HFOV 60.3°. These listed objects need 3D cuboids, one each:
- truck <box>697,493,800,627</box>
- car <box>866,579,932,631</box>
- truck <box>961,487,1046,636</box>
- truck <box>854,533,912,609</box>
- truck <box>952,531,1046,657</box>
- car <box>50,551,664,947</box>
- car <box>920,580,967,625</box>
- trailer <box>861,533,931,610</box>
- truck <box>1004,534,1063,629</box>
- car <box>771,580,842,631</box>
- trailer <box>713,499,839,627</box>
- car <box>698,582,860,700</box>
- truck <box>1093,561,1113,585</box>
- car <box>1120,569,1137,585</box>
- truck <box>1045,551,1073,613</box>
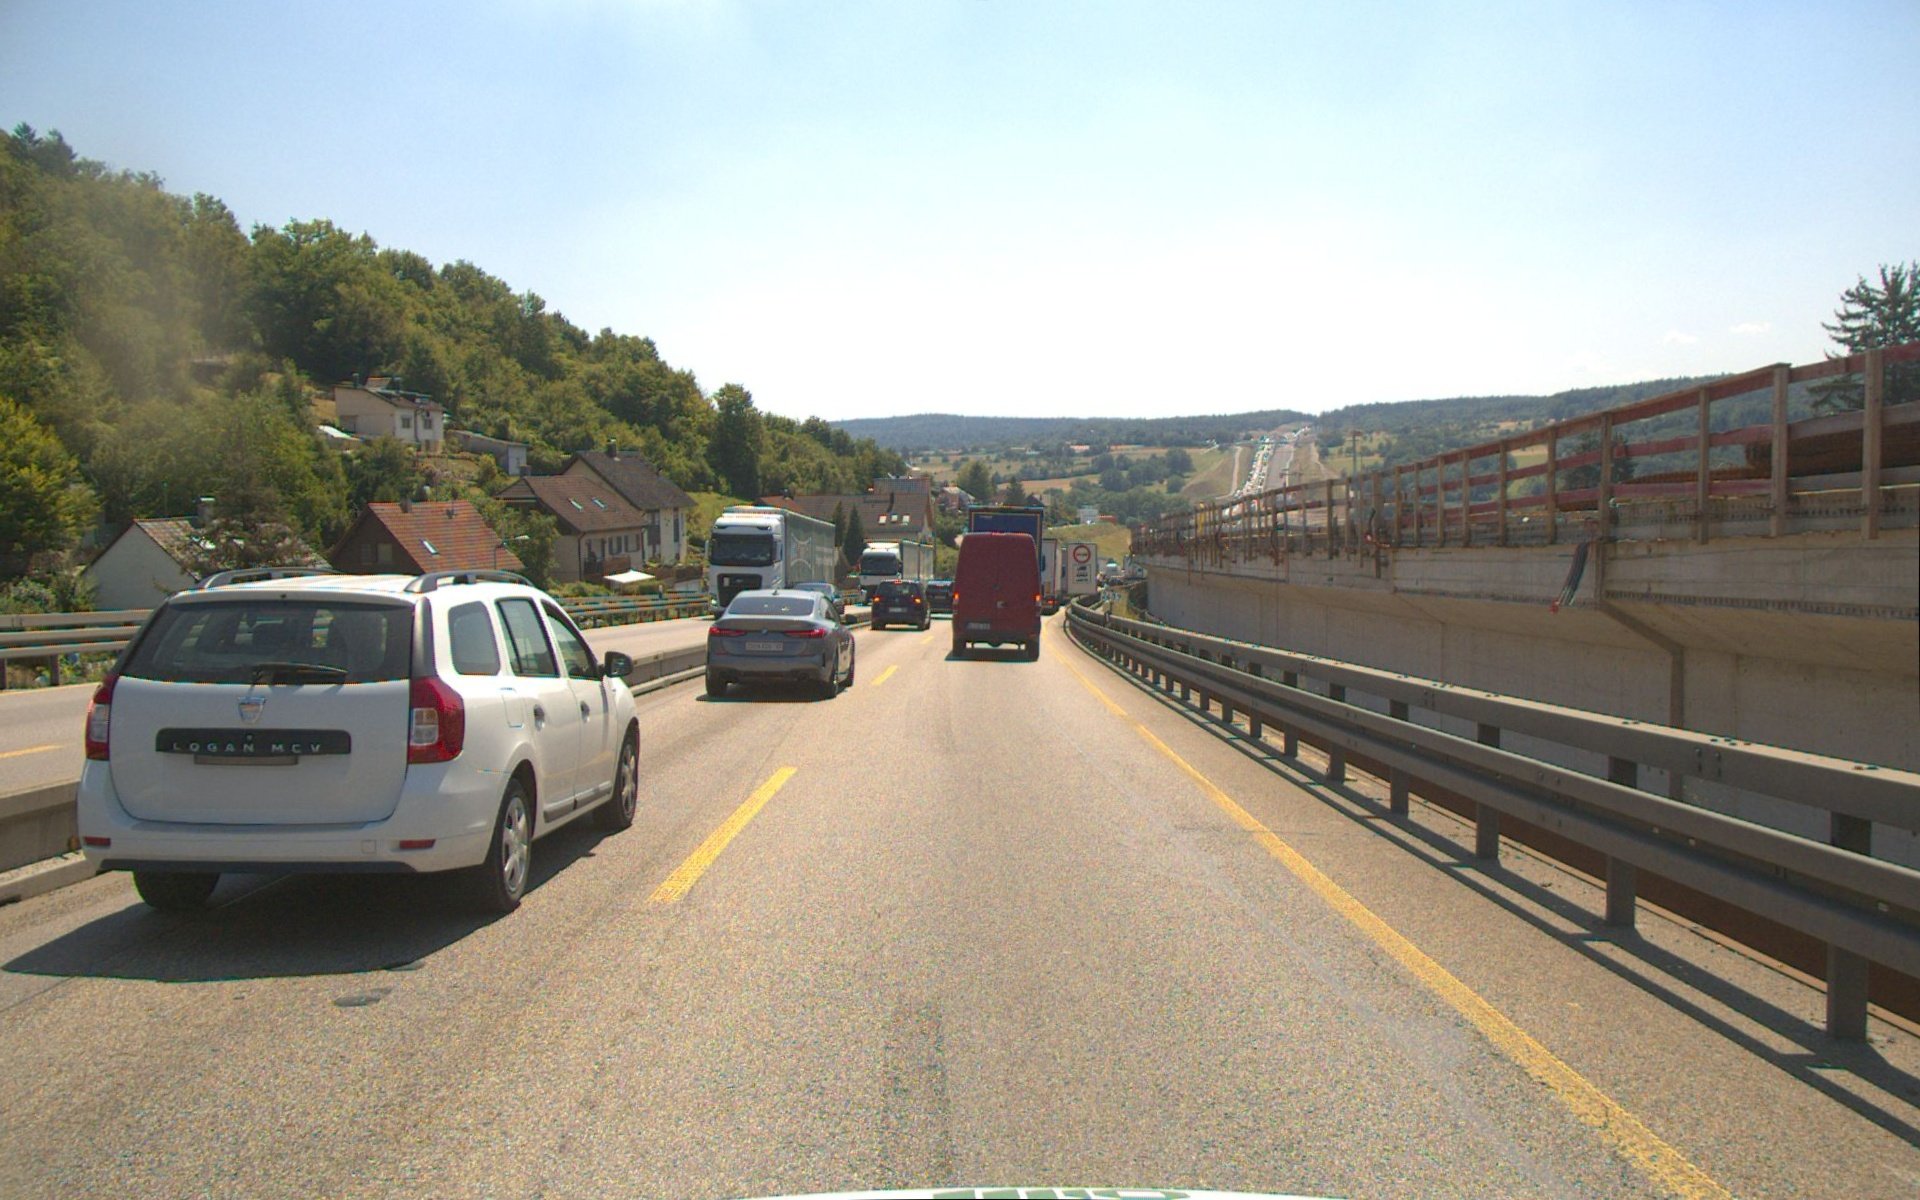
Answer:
[{"bbox_3d":[-8.043,-1.466,63.483,2.996,4.906,4.647,1,-1,4],"label":"truck"},{"bbox_3d":[-1.994,0.179,55.135,1.772,1.636,3.720,1,-1,4],"label":"car"},{"bbox_3d":[1.455,-1.244,59.993,2.729,4.900,9.684,1,-1,0],"label":"truck"},{"bbox_3d":[-4.841,-1.777,105.052,2.786,4.660,5.791,1,-1,6],"label":"truck"},{"bbox_3d":[0.842,-0.109,36.971,1.952,2.624,4.000,1,-1,0],"label":"truck"},{"bbox_3d":[-2.735,0.590,8.590,1.618,1.509,4.266,-1,0,0],"label":"car"},{"bbox_3d":[-0.684,0.114,72.537,1.693,1.870,4.002,1,-1,4],"label":"car"},{"bbox_3d":[-4.187,-1.761,111.784,2.774,4.723,14.589,1,0,5],"label":"trailer"},{"bbox_3d":[3.980,-0.945,91.384,2.729,4.900,9.684,1,-1,0],"label":"truck"},{"bbox_3d":[-5.232,0.198,57.017,1.953,1.669,4.853,1,0,0],"label":"car"},{"bbox_3d":[-7.629,-1.373,71.013,3.000,4.900,14.007,1,0,3],"label":"trailer"},{"bbox_3d":[-2.457,0.518,23.342,1.757,1.511,4.050,1,0,1],"label":"car"},{"bbox_3d":[9.891,-1.873,114.490,1.287,1.569,3.153,1,-1,4],"label":"truck"},{"bbox_3d":[22.789,-3.138,223.466,2.086,2.049,4.003,1,-1,8],"label":"car"},{"bbox_3d":[7.338,-1.279,122.548,1.951,4.458,4.002,1,-1,5],"label":"truck"}]
